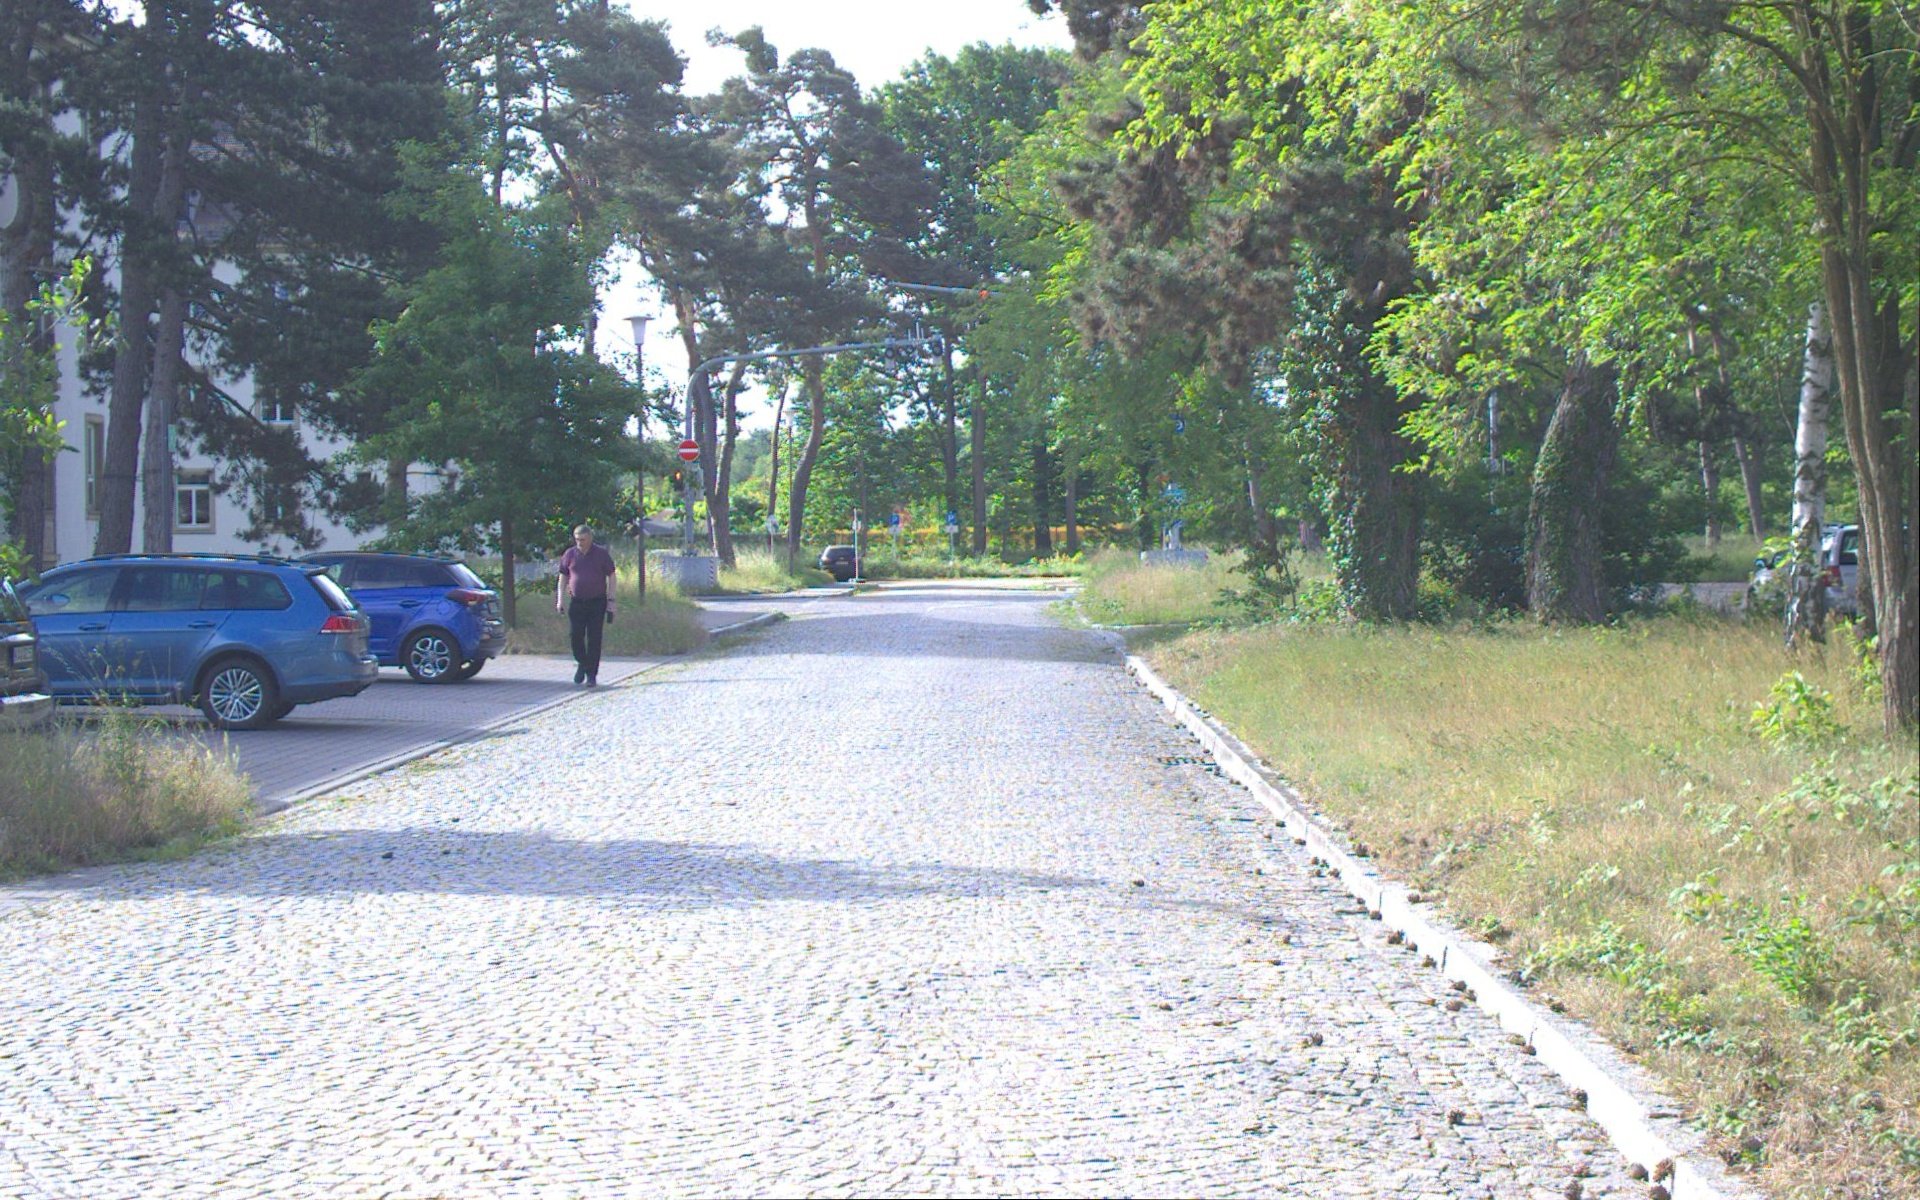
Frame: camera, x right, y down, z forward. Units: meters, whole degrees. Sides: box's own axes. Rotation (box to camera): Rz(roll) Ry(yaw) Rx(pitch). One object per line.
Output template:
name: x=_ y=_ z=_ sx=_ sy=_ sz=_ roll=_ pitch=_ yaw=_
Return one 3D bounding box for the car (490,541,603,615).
car: x=-9.387 y=-0.523 z=78.277 sx=1.993 sy=1.612 sz=4.000 roll=-1 pitch=1 yaw=1

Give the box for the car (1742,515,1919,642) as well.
car: x=11.337 y=-0.304 z=43.926 sx=1.886 sy=1.536 sz=4.000 roll=0 pitch=1 yaw=2

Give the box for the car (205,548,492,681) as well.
car: x=-6.938 y=0.146 z=39.218 sx=3.083 sy=1.445 sz=1.492 roll=-1 pitch=1 yaw=-5

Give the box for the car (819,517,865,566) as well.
car: x=-4.983 y=-2.475 z=145.375 sx=1.697 sy=2.007 sz=4.000 roll=0 pitch=1 yaw=1

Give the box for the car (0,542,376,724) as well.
car: x=-6.719 y=0.267 z=29.819 sx=3.083 sy=1.452 sz=1.492 roll=2 pitch=1 yaw=-4

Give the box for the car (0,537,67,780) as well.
car: x=-7.449 y=0.372 z=22.511 sx=2.760 sy=1.544 sz=1.425 roll=0 pitch=1 yaw=5

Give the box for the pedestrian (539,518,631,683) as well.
pedestrian: x=-4.232 y=-0.007 z=38.889 sx=0.956 sy=1.838 sz=0.956 roll=-1 pitch=1 yaw=-2

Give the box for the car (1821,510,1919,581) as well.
car: x=21.790 y=-1.290 z=81.133 sx=1.993 sy=1.612 sz=4.000 roll=-1 pitch=1 yaw=1
